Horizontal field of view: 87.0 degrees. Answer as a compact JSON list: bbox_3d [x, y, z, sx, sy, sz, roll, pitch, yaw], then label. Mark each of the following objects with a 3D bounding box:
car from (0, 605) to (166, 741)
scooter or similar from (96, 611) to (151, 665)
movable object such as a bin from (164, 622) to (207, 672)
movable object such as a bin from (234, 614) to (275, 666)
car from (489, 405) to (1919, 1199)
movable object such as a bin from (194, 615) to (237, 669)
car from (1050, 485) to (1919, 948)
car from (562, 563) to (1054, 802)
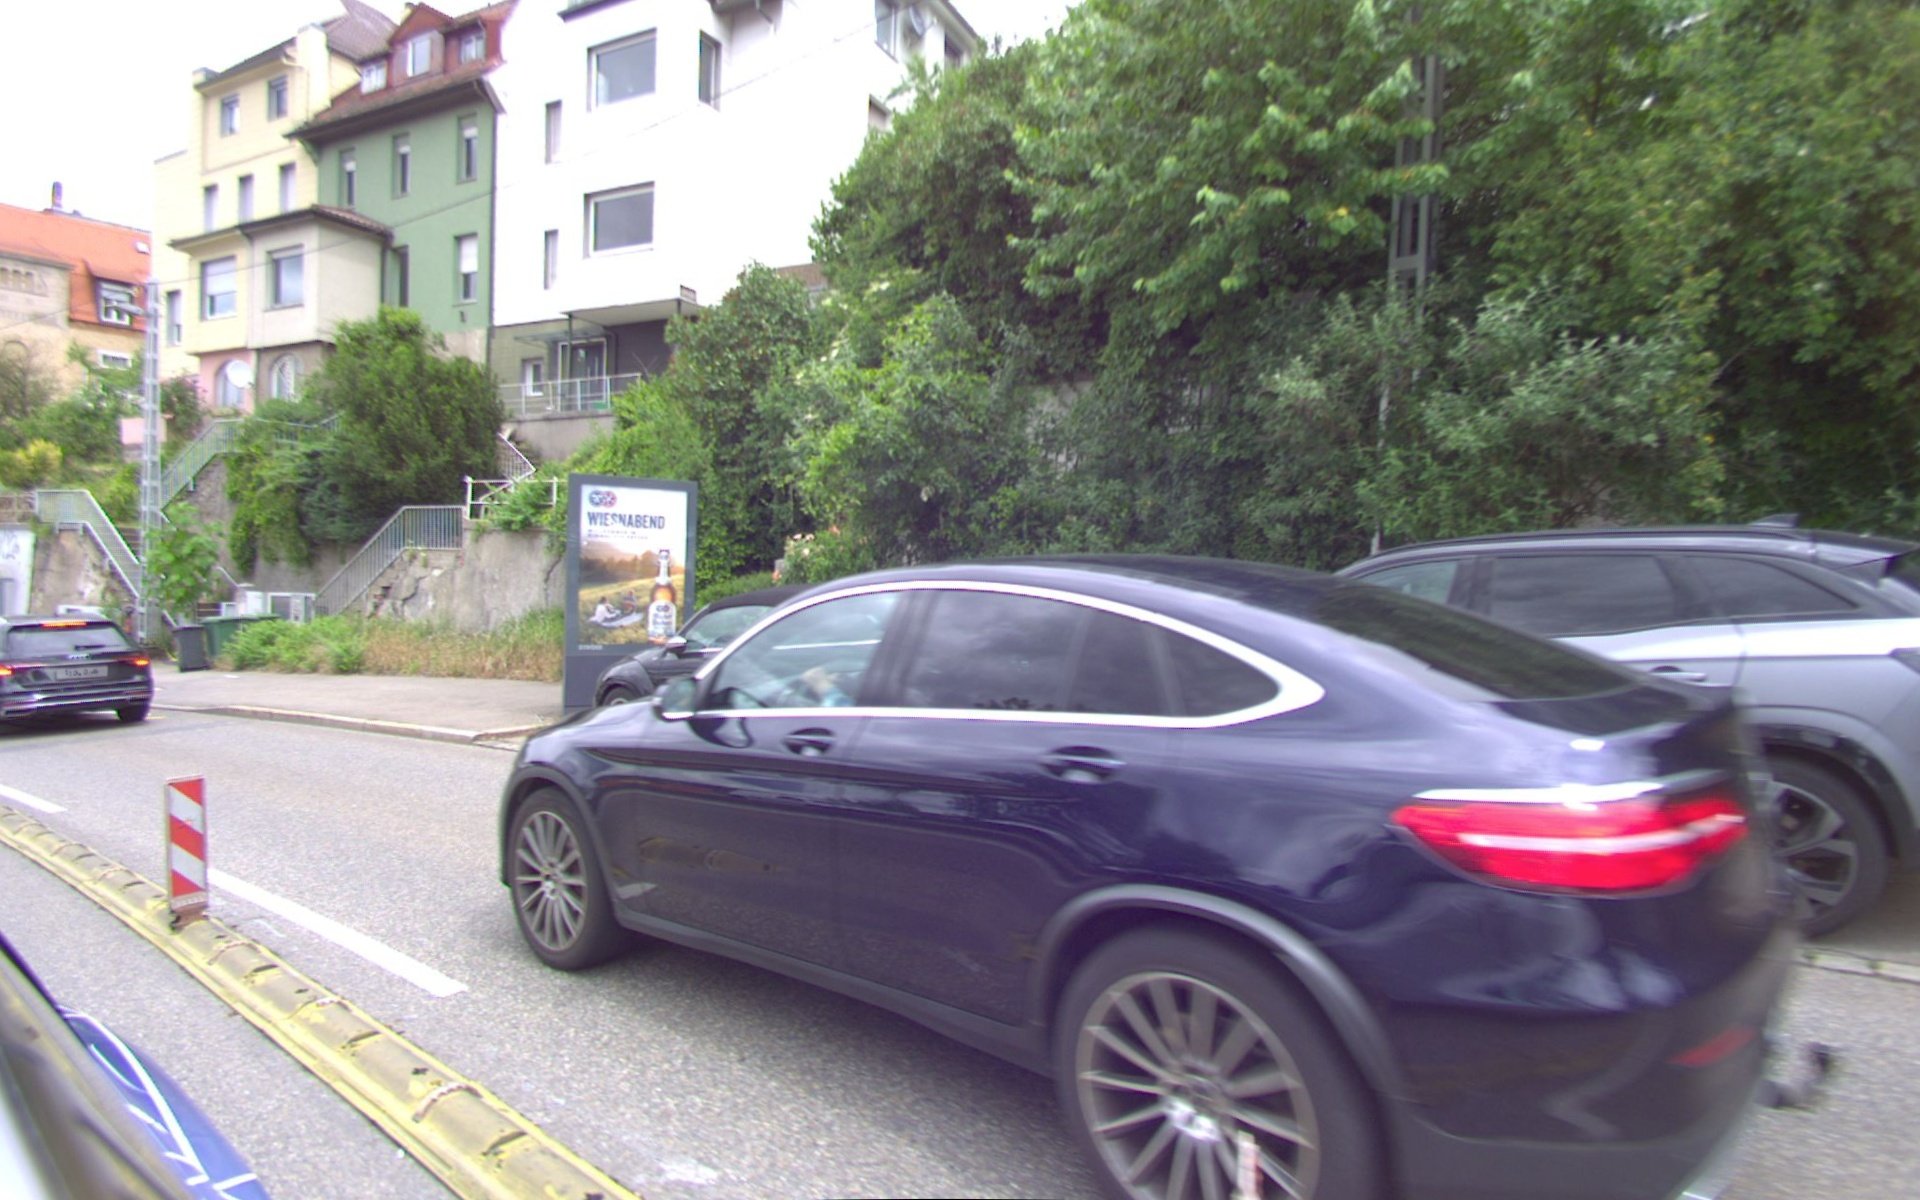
[{"bbox_3d":[-12.251,0.860,13.123,4.350,1.457,1.781,-1,1,34],"label":"car"},{"bbox_3d":[-19.681,0.898,23.811,1.429,1.214,0.456,-1,2,29],"label":"scooter or similar"},{"bbox_3d":[-15.410,0.930,20.136,0.622,0.941,0.464,-1,1,31],"label":"movable object such as a bin"},{"bbox_3d":[-14.824,0.832,21.274,0.622,1.061,0.464,-1,1,31],"label":"movable object such as a bin"},{"bbox_3d":[0.249,0.562,3.370,4.228,1.579,1.749,-2,0,42],"label":"car"},{"bbox_3d":[-15.147,0.850,20.581,0.622,1.061,0.464,-1,1,31],"label":"movable object such as a bin"},{"bbox_3d":[2.677,0.385,5.195,4.184,1.617,1.670,-1,2,41],"label":"car"},{"bbox_3d":[-1.397,0.547,8.539,3.993,1.521,1.778,-1,2,37],"label":"car"}]
